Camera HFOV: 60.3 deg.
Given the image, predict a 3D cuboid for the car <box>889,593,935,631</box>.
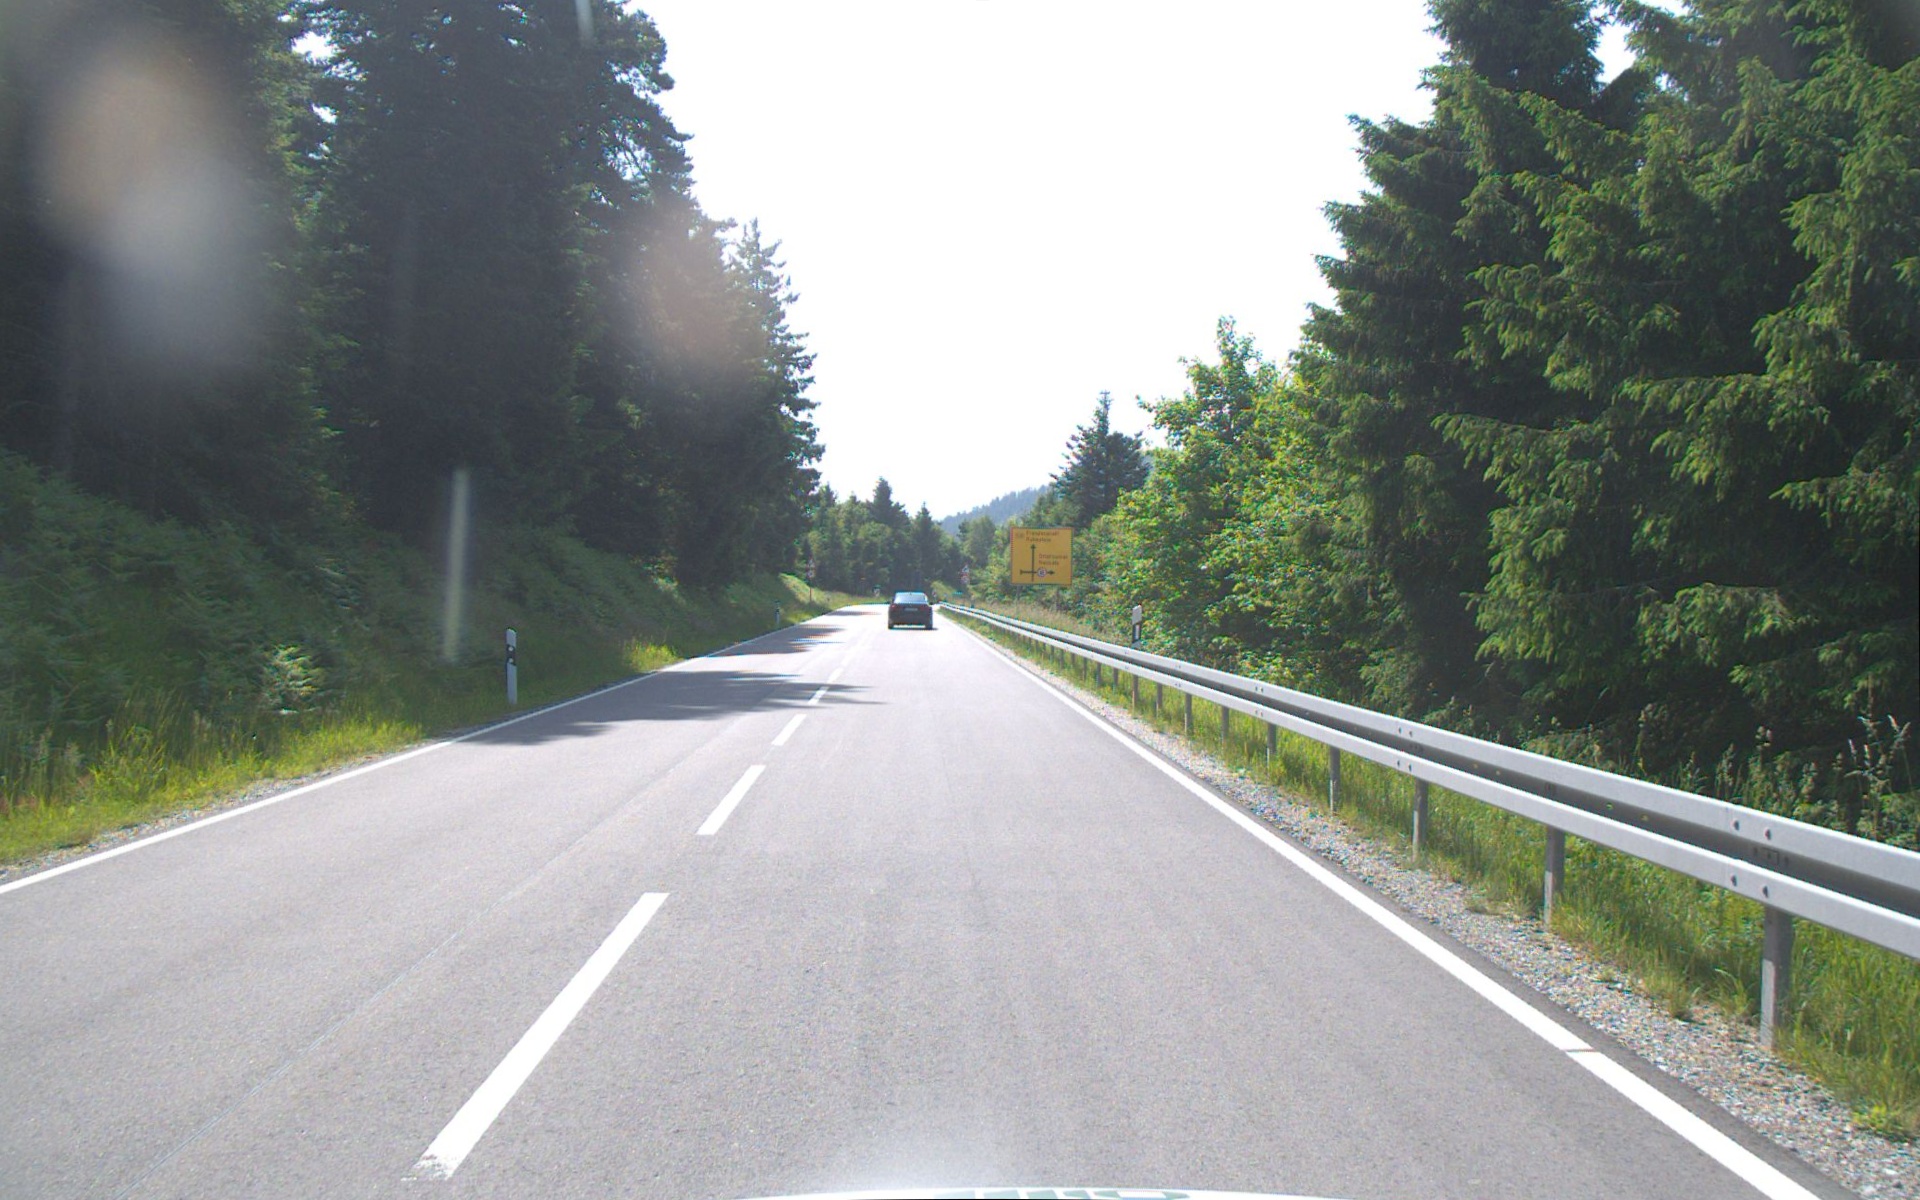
[{"bbox_3d":[-1.927,0.463,65.798,1.740,1.467,3.707,-1,0,-2],"label":"car"}]
